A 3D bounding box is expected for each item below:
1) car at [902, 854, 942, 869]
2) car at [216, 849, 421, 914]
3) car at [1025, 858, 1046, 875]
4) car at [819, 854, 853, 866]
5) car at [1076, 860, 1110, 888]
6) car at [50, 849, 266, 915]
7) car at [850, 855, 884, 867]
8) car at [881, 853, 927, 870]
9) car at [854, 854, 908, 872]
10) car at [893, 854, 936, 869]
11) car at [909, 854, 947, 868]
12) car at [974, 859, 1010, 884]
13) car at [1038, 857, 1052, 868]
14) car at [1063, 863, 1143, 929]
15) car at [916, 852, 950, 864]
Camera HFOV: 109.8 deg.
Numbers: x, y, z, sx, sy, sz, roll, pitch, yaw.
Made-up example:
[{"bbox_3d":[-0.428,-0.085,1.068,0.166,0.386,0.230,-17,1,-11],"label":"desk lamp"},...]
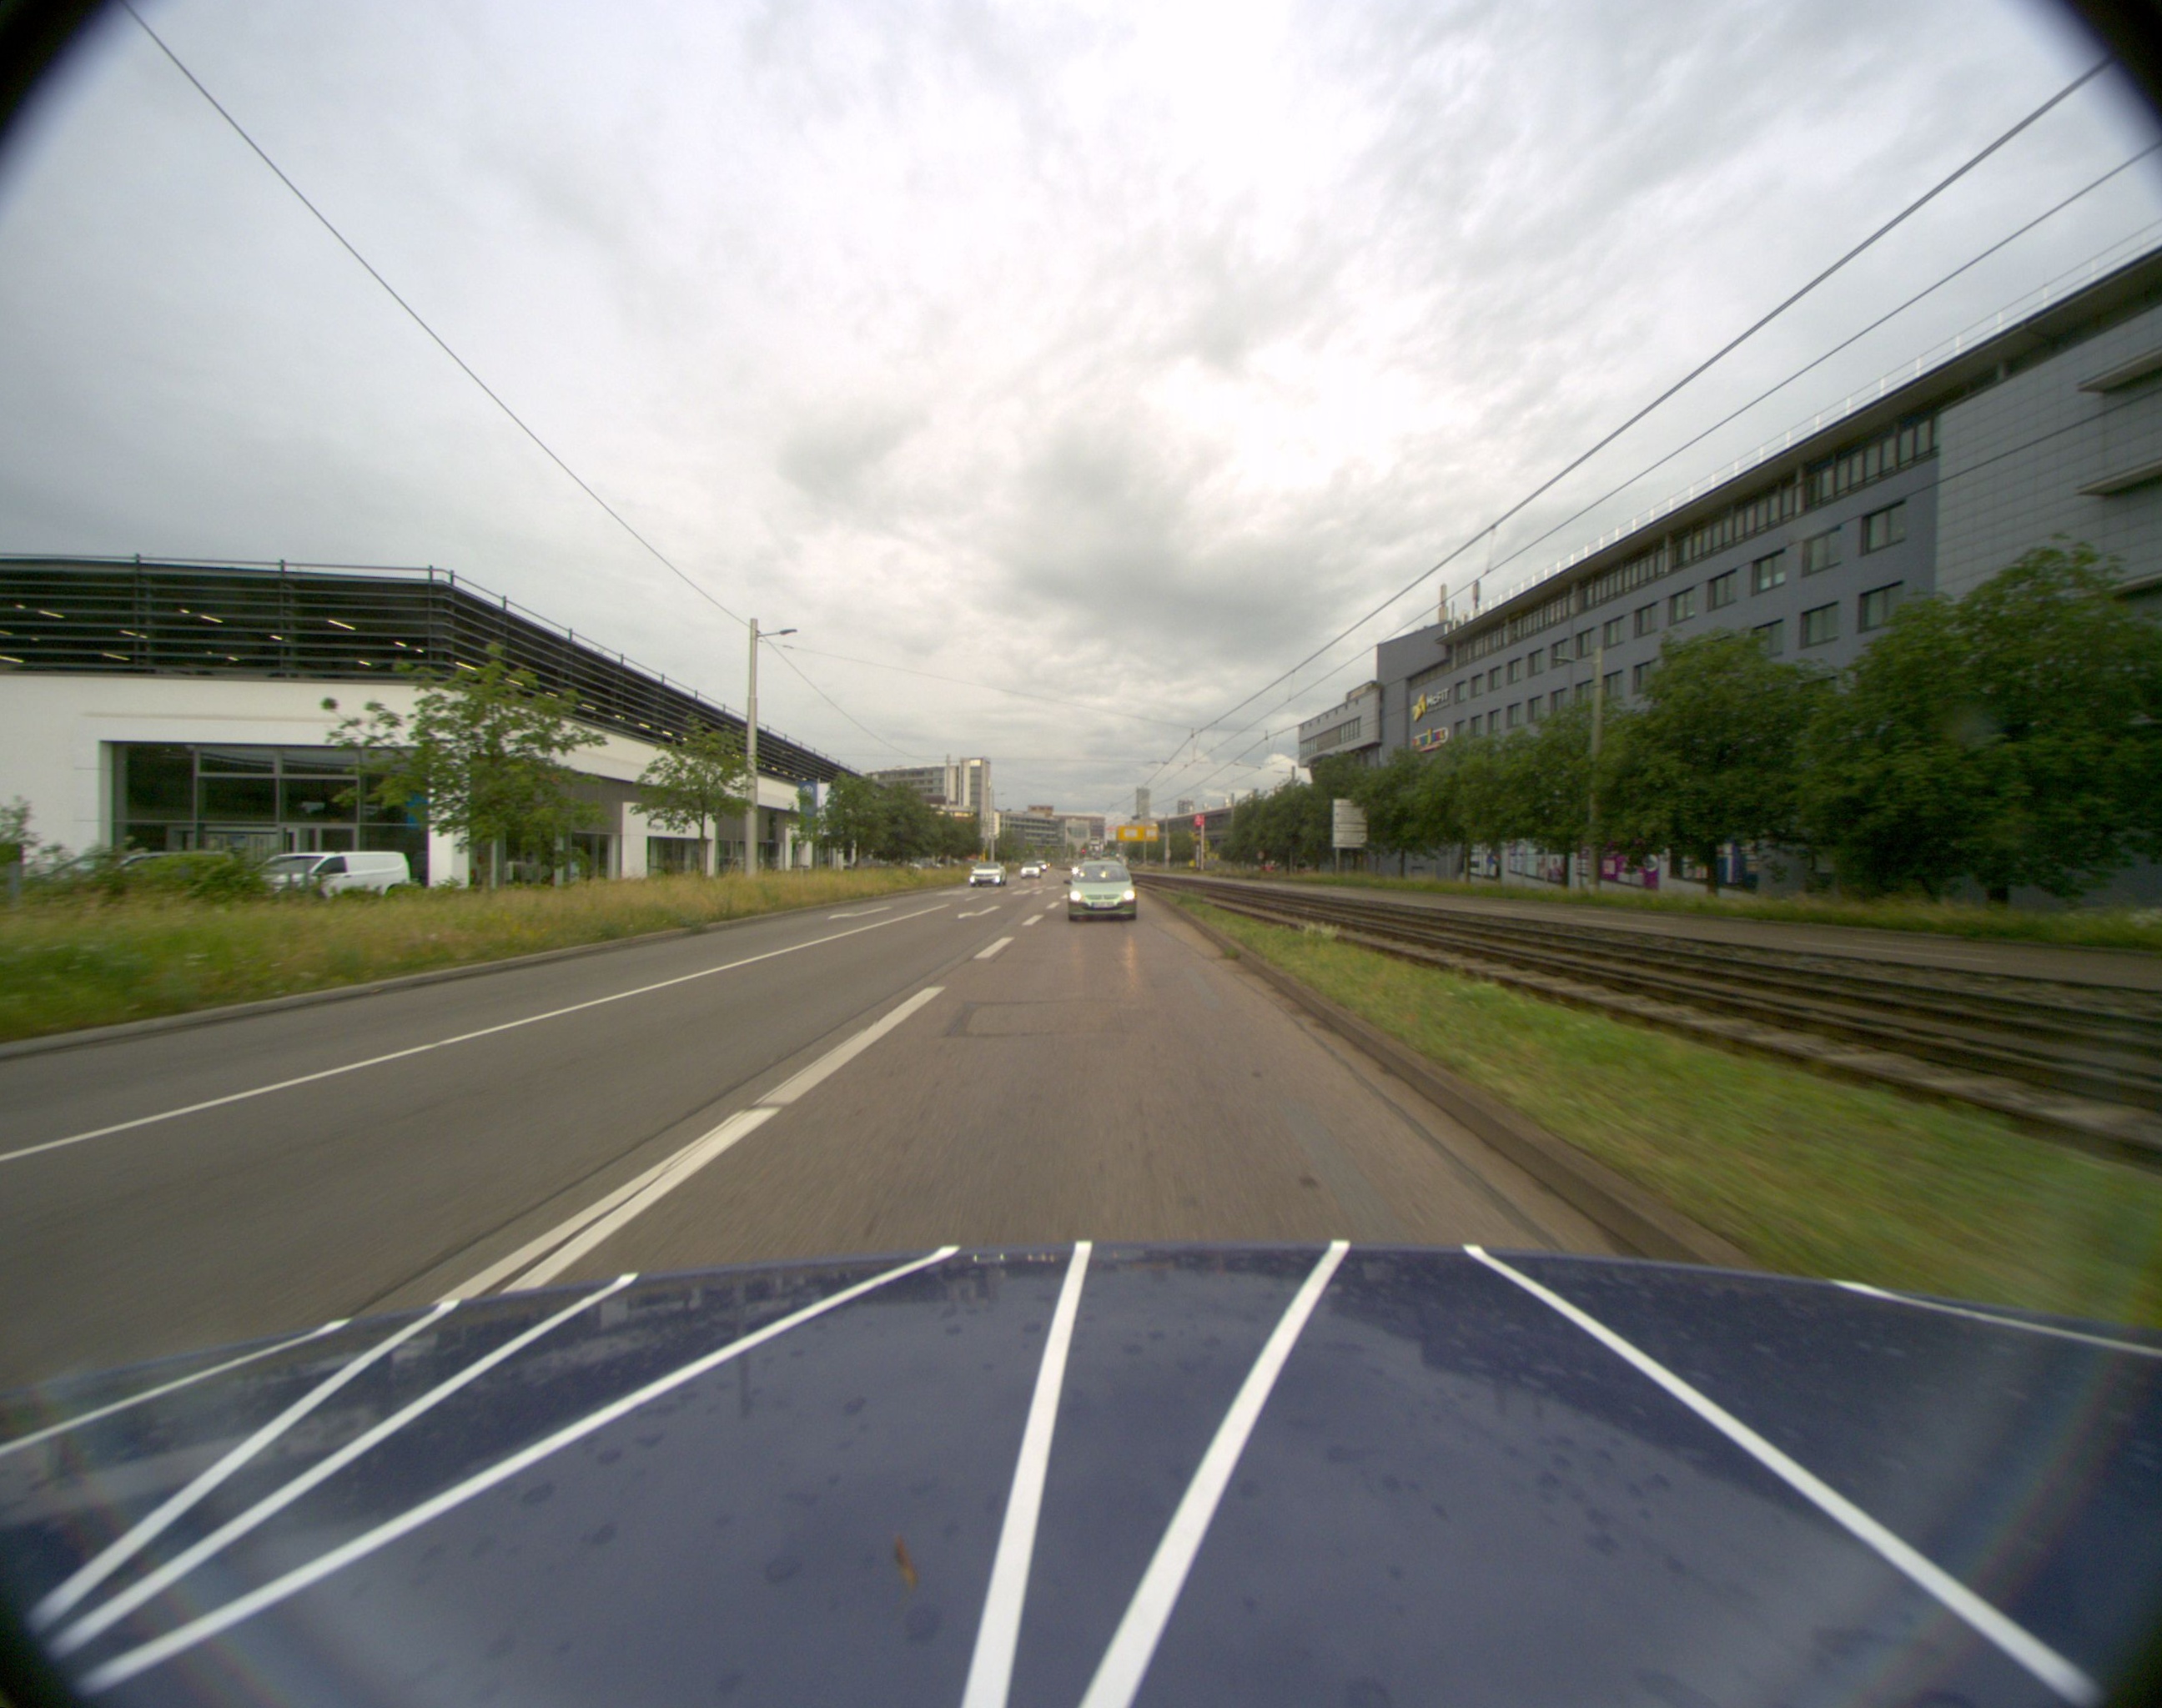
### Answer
[{"bbox_3d":[-18.325,0.850,87.742,4.200,1.559,1.794,2,0,-44],"label":"car"},{"bbox_3d":[-25.771,0.870,26.023,2.049,2.002,5.090,-1,0,-3],"label":"car"},{"bbox_3d":[-4.225,1.158,70.935,1.819,1.584,3.836,0,-1,-3],"label":"car"},{"bbox_3d":[-31.634,0.758,98.256,3.827,1.578,1.638,1,0,-4],"label":"car"},{"bbox_3d":[0.641,1.123,44.298,1.762,1.535,3.714,-2,0,-2],"label":"car"},{"bbox_3d":[-31.711,0.898,26.402,1.952,2.038,4.704,-2,0,-5],"label":"car"},{"bbox_3d":[-28.217,0.894,100.211,3.997,1.499,1.786,-2,0,-1],"label":"car"},{"bbox_3d":[-18.734,0.828,80.474,4.363,1.617,1.851,2,0,-33],"label":"car"},{"bbox_3d":[-19.356,0.846,73.476,4.635,1.559,1.847,2,0,-33],"label":"car"},{"bbox_3d":[-18.413,0.836,83.946,4.199,1.559,1.794,2,0,-38],"label":"car"},{"bbox_3d":[-18.514,0.848,91.776,4.109,1.559,1.794,2,0,-40],"label":"car"},{"bbox_3d":[-5.472,1.069,47.042,1.879,1.485,3.836,0,-1,-2],"label":"car"},{"bbox_3d":[-5.650,1.355,119.021,1.890,1.584,3.982,0,-1,2],"label":"car"},{"bbox_3d":[0.487,1.041,20.430,1.762,1.489,4.136,-2,0,-3],"label":"car"},{"bbox_3d":[-19.656,0.510,101.075,4.108,1.457,1.743,2,0,-36],"label":"car"}]
